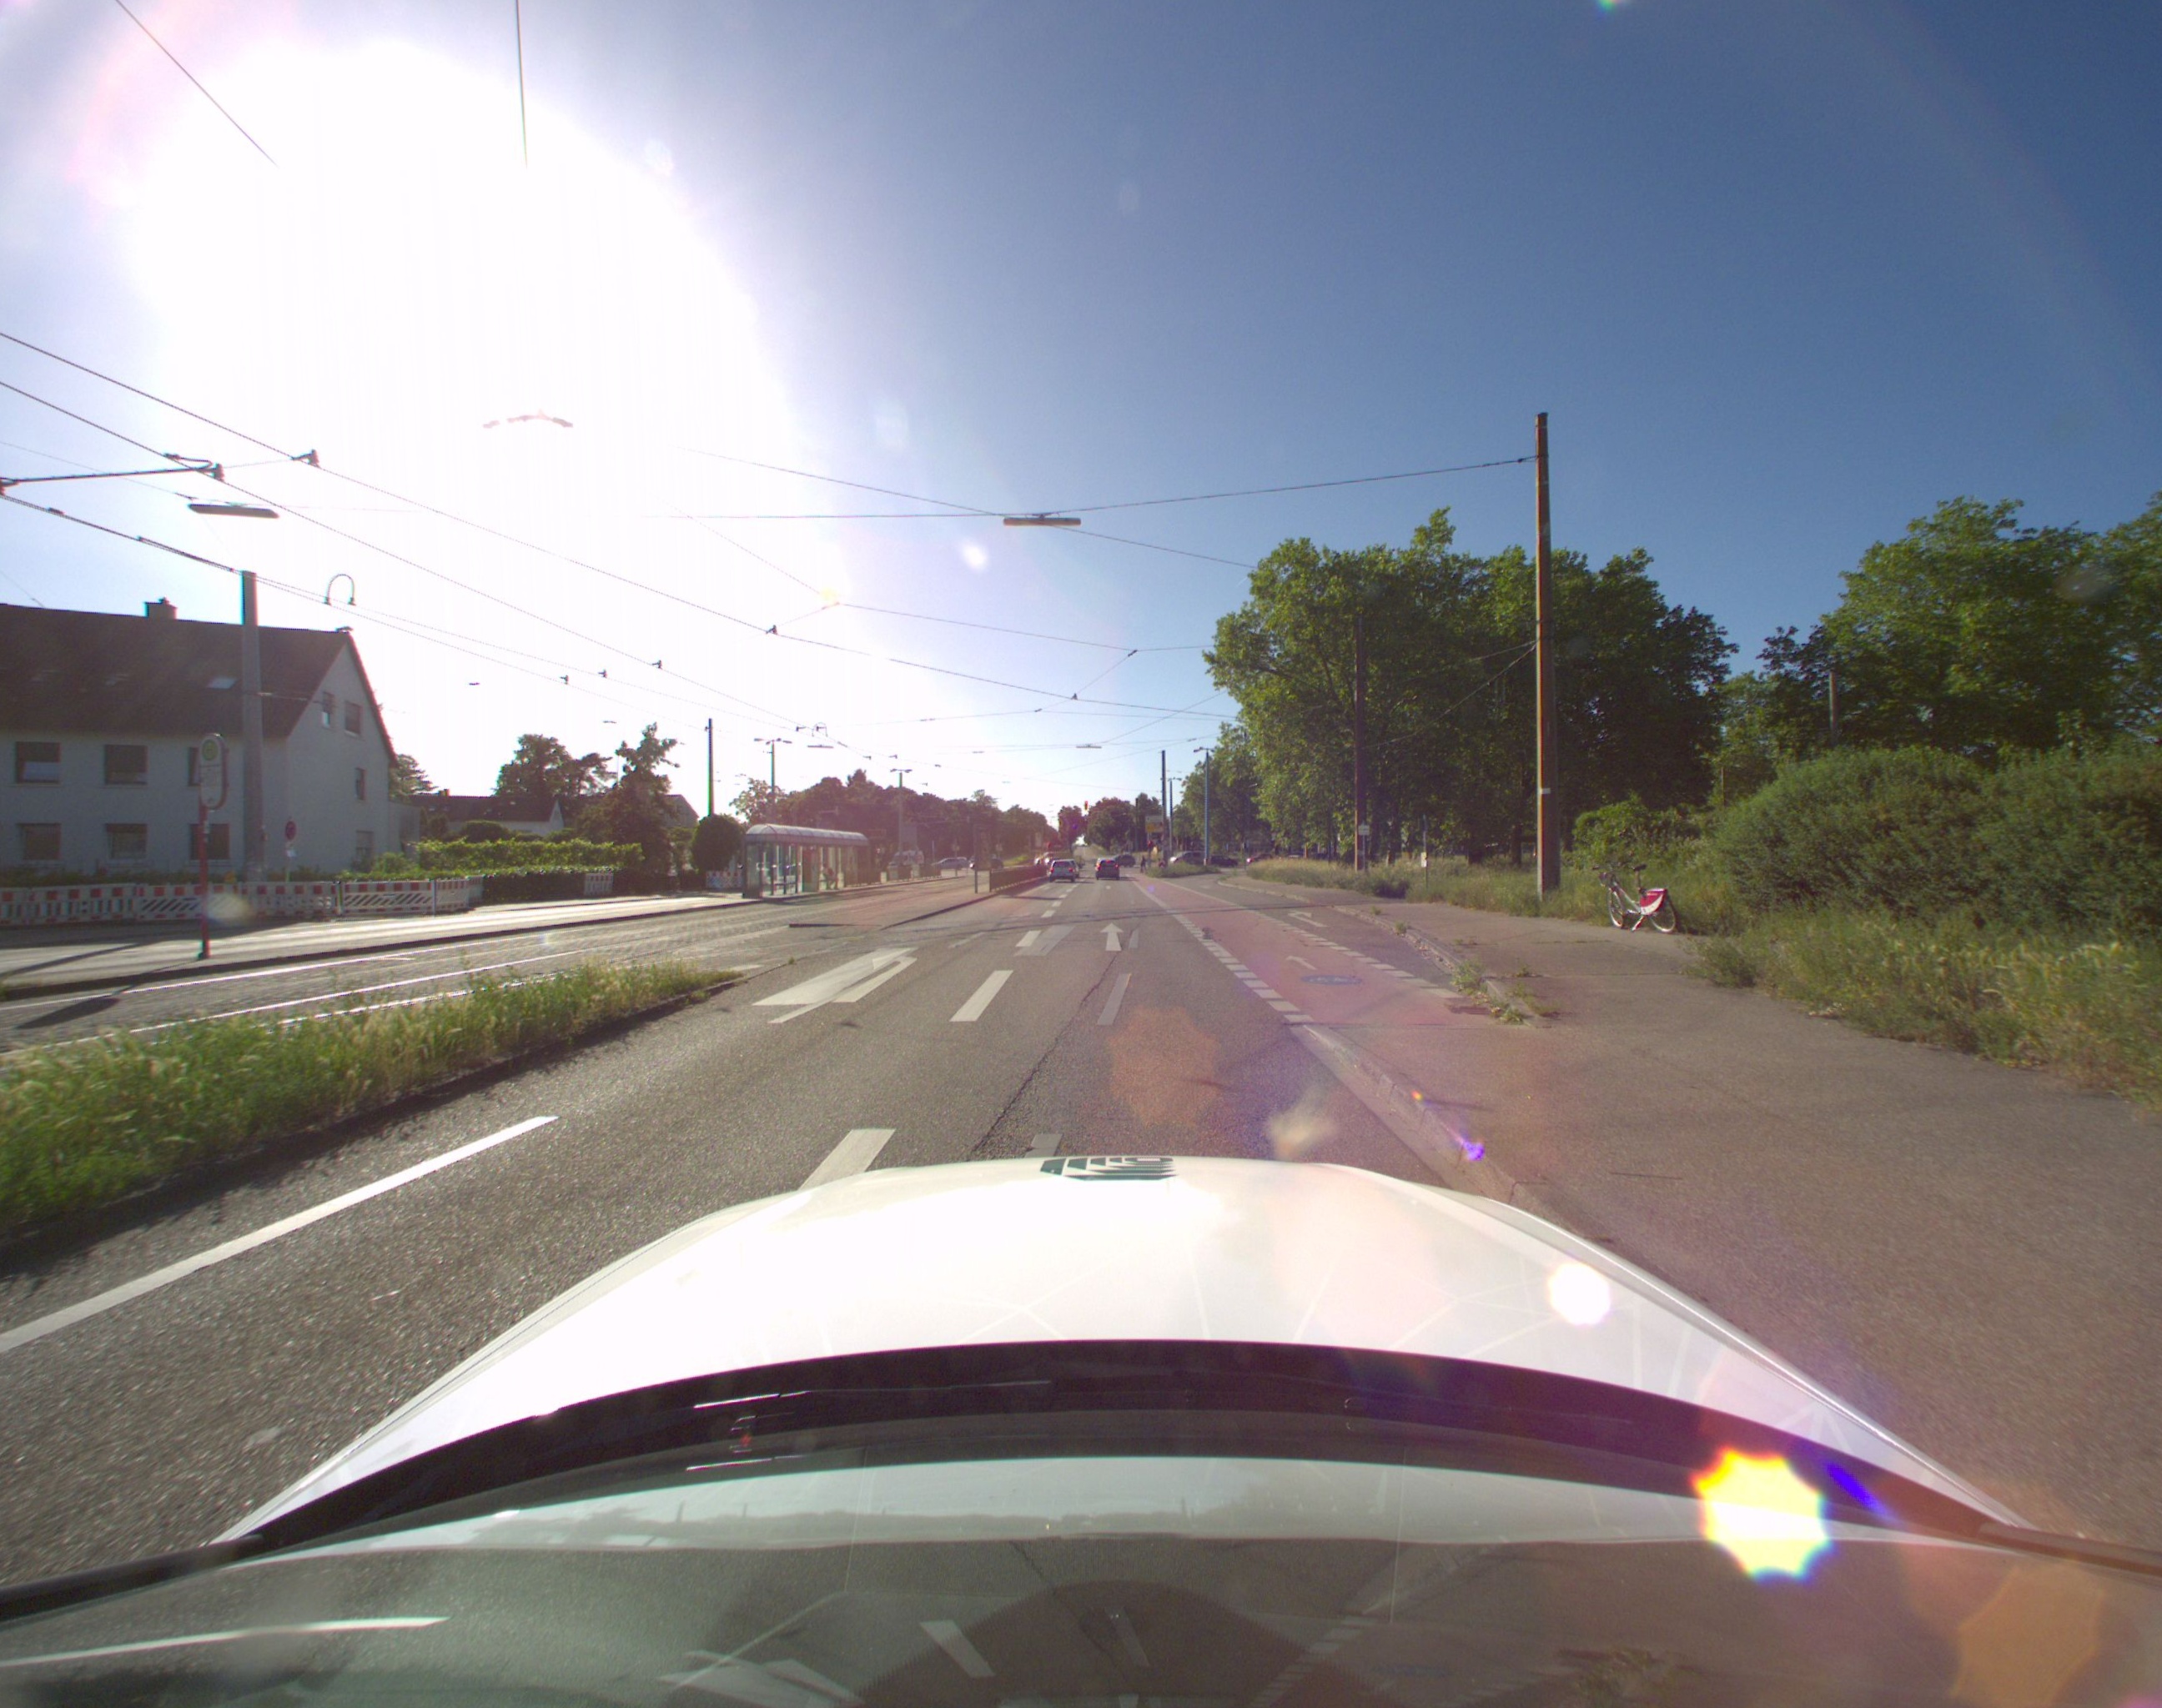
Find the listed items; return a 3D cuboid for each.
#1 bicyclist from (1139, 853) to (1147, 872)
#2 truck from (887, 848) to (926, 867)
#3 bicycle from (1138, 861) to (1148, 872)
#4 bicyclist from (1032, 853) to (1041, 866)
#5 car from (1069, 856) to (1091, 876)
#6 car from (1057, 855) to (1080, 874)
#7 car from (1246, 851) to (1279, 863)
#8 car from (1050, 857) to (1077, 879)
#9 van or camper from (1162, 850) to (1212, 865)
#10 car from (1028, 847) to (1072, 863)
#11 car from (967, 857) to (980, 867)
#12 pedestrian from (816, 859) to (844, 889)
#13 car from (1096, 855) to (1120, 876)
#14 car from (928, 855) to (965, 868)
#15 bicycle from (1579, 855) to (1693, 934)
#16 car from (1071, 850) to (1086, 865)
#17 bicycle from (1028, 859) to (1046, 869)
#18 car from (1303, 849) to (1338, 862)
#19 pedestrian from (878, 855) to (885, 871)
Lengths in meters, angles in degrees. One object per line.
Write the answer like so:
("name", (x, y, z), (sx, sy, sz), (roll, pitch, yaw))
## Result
("bicyclist", (5.602, 0.752, 73.548), (0.663, 1.716, 0.948), (1, -1, 1))
("truck", (-23.780, 0.442, 111.360), (1.977, 2.565, 6.856), (-1, 0, 19))
("bicycle", (5.604, 1.160, 73.732), (0.719, 0.989, 2.877), (0, -1, 2))
("bicyclist", (-6.056, 0.751, 111.454), (1.008, 1.647, 0.813), (-1, 0, -16))
("car", (-0.047, 0.931, 66.518), (1.605, 1.562, 4.289), (-1, 0, 2))
("car", (-0.976, 0.831, 65.402), (1.613, 1.457, 4.086), (0, -1, 2))
("car", (23.758, 0.443, 106.775), (4.016, 1.402, 1.599), (-2, 0, -20))
("car", (-1.143, 0.924, 54.098), (1.613, 1.418, 3.352), (-1, -1, 2))
("van or camper", (13.346, 0.458, 102.580), (5.988, 1.828, 1.986), (-1, 0, -20))
("car", (-3.939, 0.129, 103.149), (5.180, 1.879, 1.983), (1, -1, -25))
("car", (-16.890, 1.200, 127.950), (1.829, 1.548, 4.277), (-1, 0, -5))
("pedestrian", (-12.729, 0.999, 41.333), (1.057, 1.453, 1.007), (-2, -1, 1))
("car", (1.963, 0.826, 59.643), (1.663, 1.462, 3.586), (-1, 0, 1))
("car", (-16.052, 0.899, 97.472), (4.013, 1.473, 1.734), (1, -1, -32))
("bicycle", (8.666, 0.594, 12.832), (0.364, 1.135, 2.095), (-1, 0, 0))
("car", (-0.324, 0.554, 114.877), (1.986, 2.014, 4.493), (0, -1, 2))
("bicycle", (-6.025, 1.341, 111.477), (2.401, 1.263, 0.813), (-1, 0, -16))
("car", (35.275, 0.267, 119.994), (4.704, 1.879, 1.986), (1, -1, -21))
("pedestrian", (-24.313, 1.092, 99.173), (0.748, 2.013, 0.789), (-1, 0, -10))
